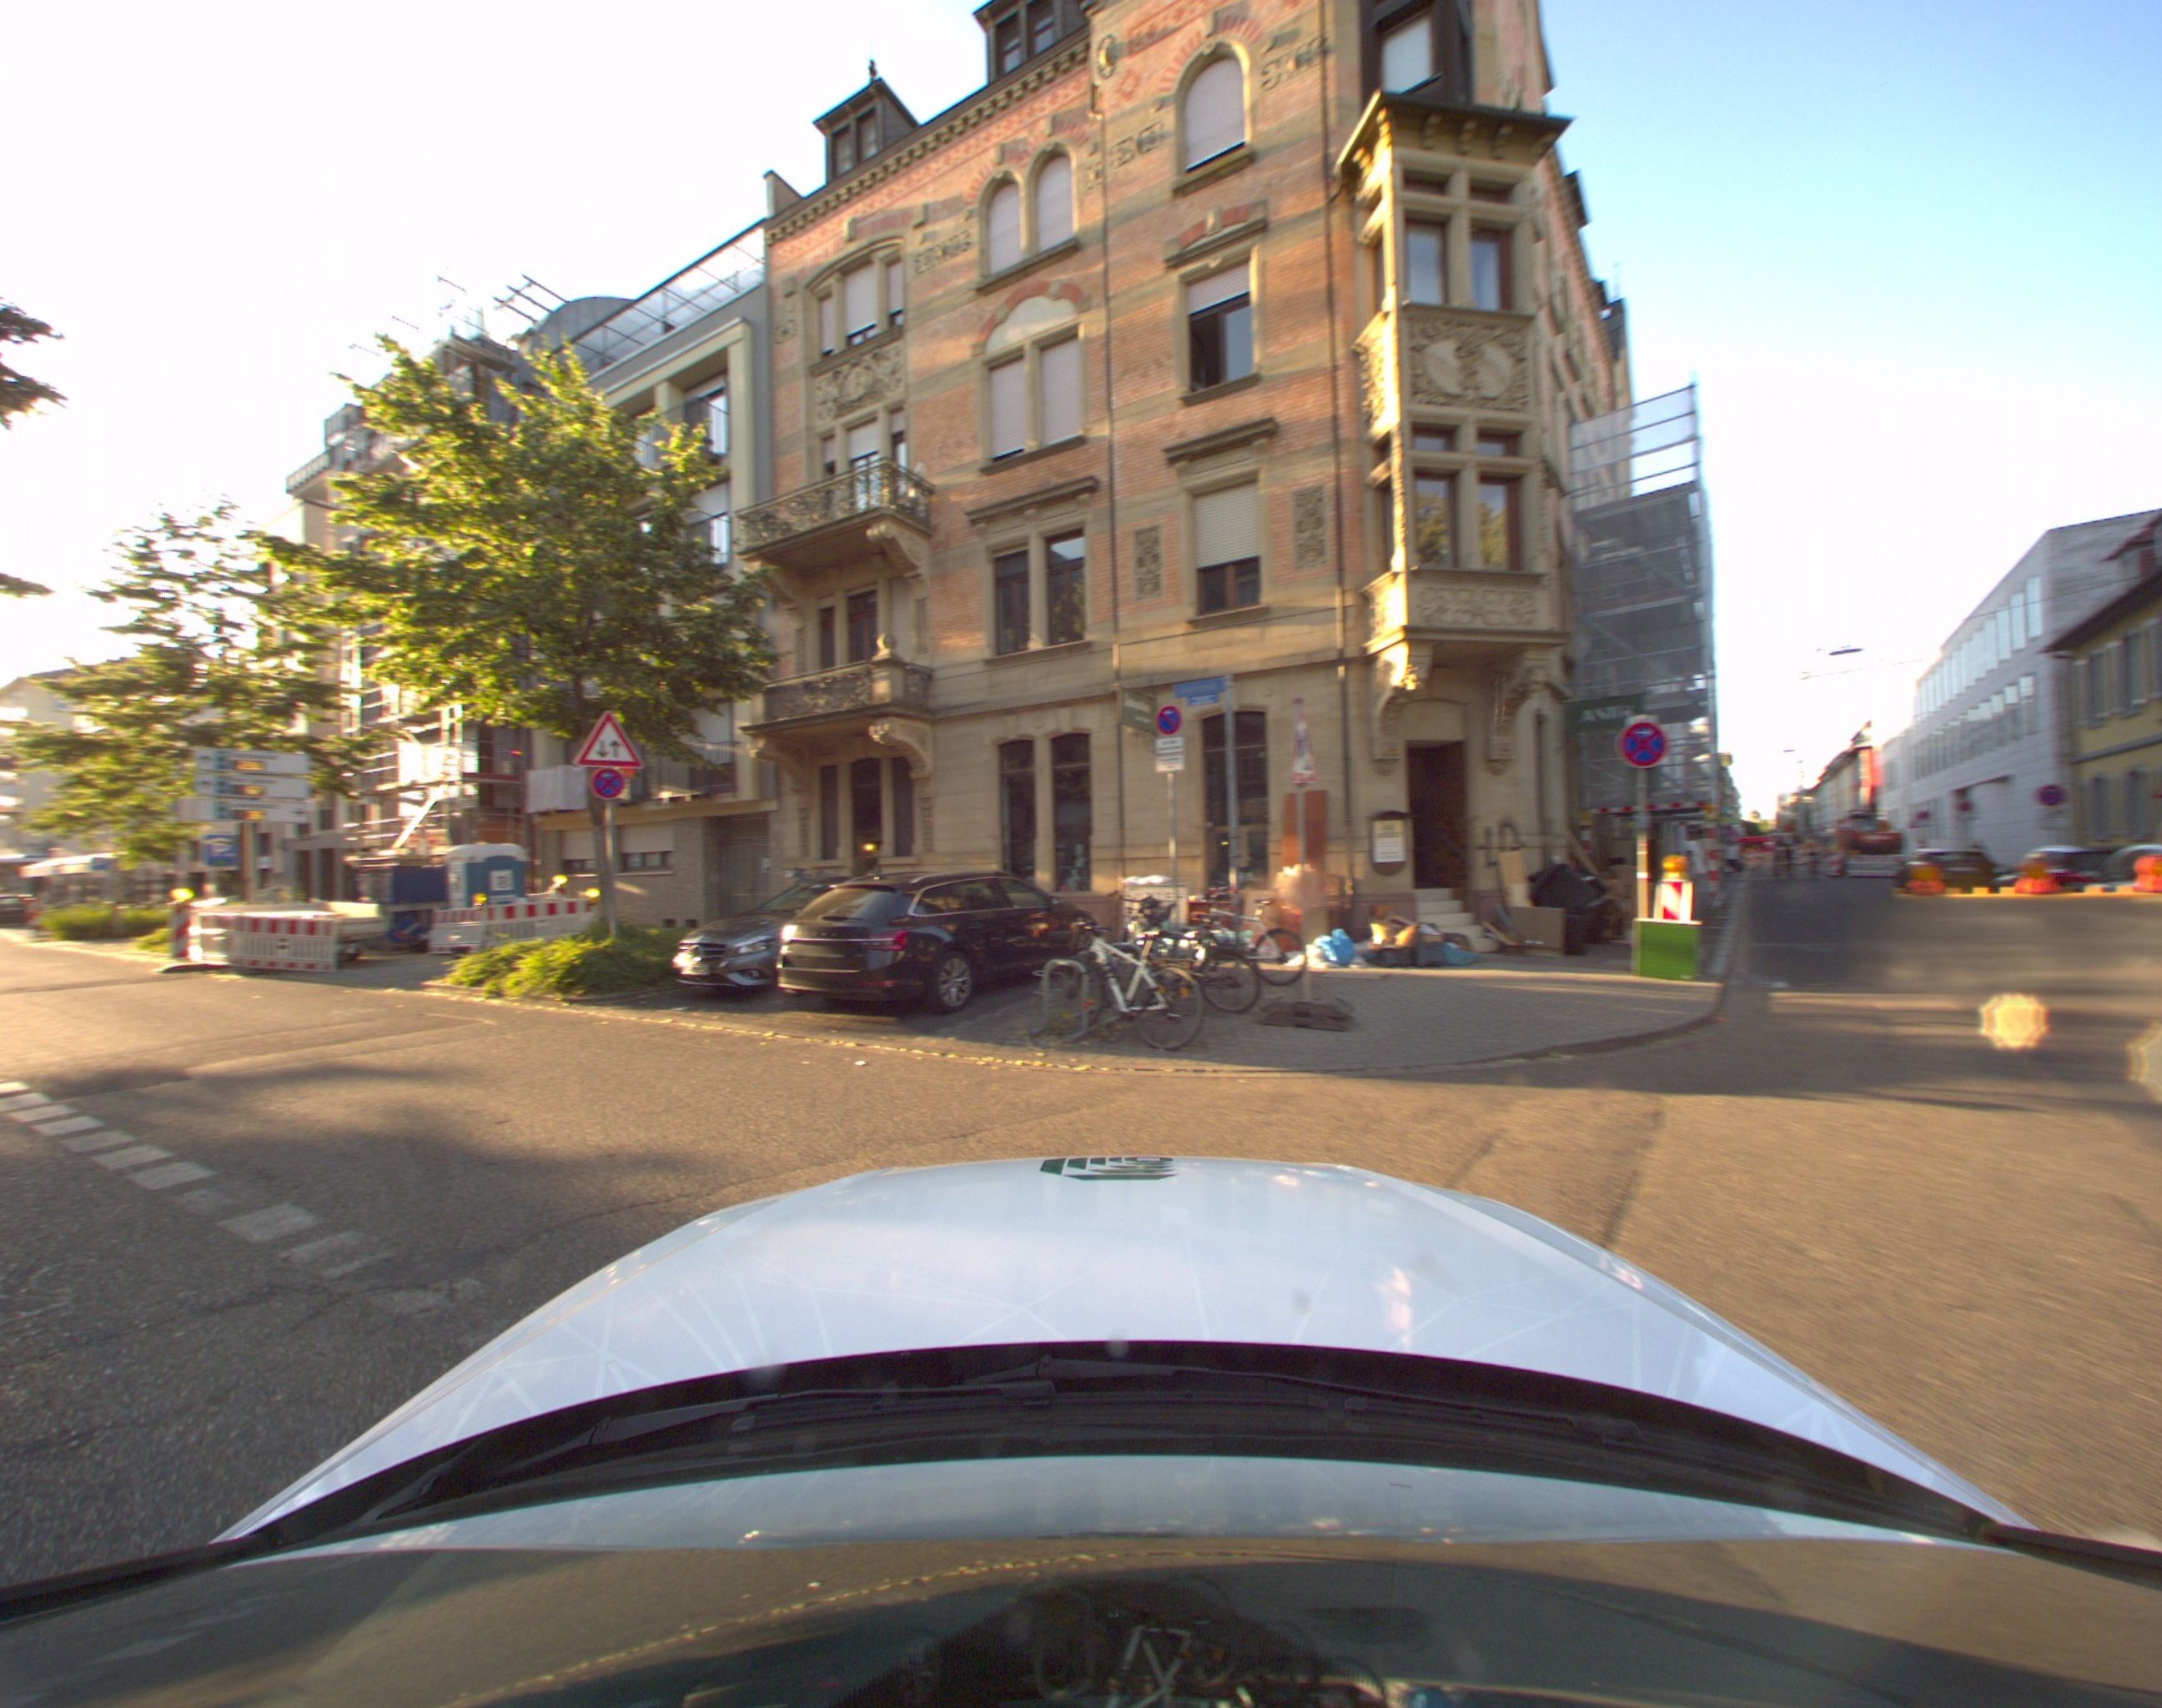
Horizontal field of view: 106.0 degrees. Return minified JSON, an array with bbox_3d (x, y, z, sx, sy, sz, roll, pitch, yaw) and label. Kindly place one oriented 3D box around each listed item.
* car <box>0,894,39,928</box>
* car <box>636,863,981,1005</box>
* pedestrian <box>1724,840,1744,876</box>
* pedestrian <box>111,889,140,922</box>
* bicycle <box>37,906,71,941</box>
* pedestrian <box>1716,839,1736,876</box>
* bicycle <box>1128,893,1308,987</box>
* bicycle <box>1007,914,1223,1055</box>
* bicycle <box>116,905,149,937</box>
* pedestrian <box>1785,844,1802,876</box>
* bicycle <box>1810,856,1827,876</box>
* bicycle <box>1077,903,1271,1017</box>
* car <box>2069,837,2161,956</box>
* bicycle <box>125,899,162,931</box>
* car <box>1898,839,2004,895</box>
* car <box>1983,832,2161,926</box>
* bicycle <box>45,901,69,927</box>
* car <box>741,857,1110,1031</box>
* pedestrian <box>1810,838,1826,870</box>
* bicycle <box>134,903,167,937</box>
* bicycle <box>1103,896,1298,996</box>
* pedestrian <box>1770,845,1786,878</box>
[{"bbox_3d":[-52.809,2.810,39.889,2.660,1.553,1.648,-2,0,27],"label":"car"},{"bbox_3d":[-3.595,0.963,11.707,1.844,1.479,4.570,-3,0,30],"label":"car"},{"bbox_3d":[32.762,0.198,40.871,0.503,1.764,0.512,-2,-1,-2],"label":"pedestrian"},{"bbox_3d":[-48.674,2.619,41.484,0.598,1.646,0.818,-3,0,30],"label":"pedestrian"},{"bbox_3d":[-33.271,2.246,26.383,1.504,1.100,0.385,-2,-1,26],"label":"bicycle"},{"bbox_3d":[30.754,0.151,38.825,0.669,1.733,0.704,-2,-1,36],"label":"pedestrian"},{"bbox_3d":[1.635,1.009,9.894,2.083,1.040,0.468,-2,-1,28],"label":"bicycle"},{"bbox_3d":[0.263,1.080,7.127,1.808,1.047,0.575,-2,0,32],"label":"bicycle"},{"bbox_3d":[-33.960,2.409,29.151,1.504,1.100,0.385,-3,-2,26],"label":"bicycle"},{"bbox_3d":[33.761,0.282,38.586,0.515,1.461,0.500,-1,-1,-44],"label":"pedestrian"},{"bbox_3d":[34.345,0.555,37.922,0.499,0.884,1.486,-3,-1,39],"label":"bicycle"},{"bbox_3d":[0.926,1.030,8.251,1.809,1.014,0.643,-2,-1,28],"label":"bicycle"},{"bbox_3d":[15.417,0.524,11.332,1.525,1.520,3.241,-1,0,40],"label":"car"},{"bbox_3d":[-32.842,2.141,28.518,1.505,1.100,0.385,-2,-1,22],"label":"bicycle"},{"bbox_3d":[25.724,0.367,24.184,1.701,1.520,3.241,-3,-1,40],"label":"car"},{"bbox_3d":[18.355,0.399,15.146,1.525,1.520,4.004,-3,-1,40],"label":"car"},{"bbox_3d":[-51.185,3.004,40.705,1.802,1.234,0.400,-2,-1,27],"label":"bicycle"},{"bbox_3d":[-1.571,0.880,10.023,1.887,1.511,4.570,-3,0,30],"label":"car"},{"bbox_3d":[34.303,0.009,37.908,0.499,1.461,0.516,-3,-1,39],"label":"pedestrian"},{"bbox_3d":[-33.709,2.390,29.505,1.504,1.189,0.385,-3,-2,26],"label":"bicycle"},{"bbox_3d":[1.343,1.013,9.319,2.083,1.014,0.643,-2,-1,28],"label":"bicycle"},{"bbox_3d":[31.985,0.349,37.367,0.499,1.461,0.516,-3,-1,40],"label":"pedestrian"}]
